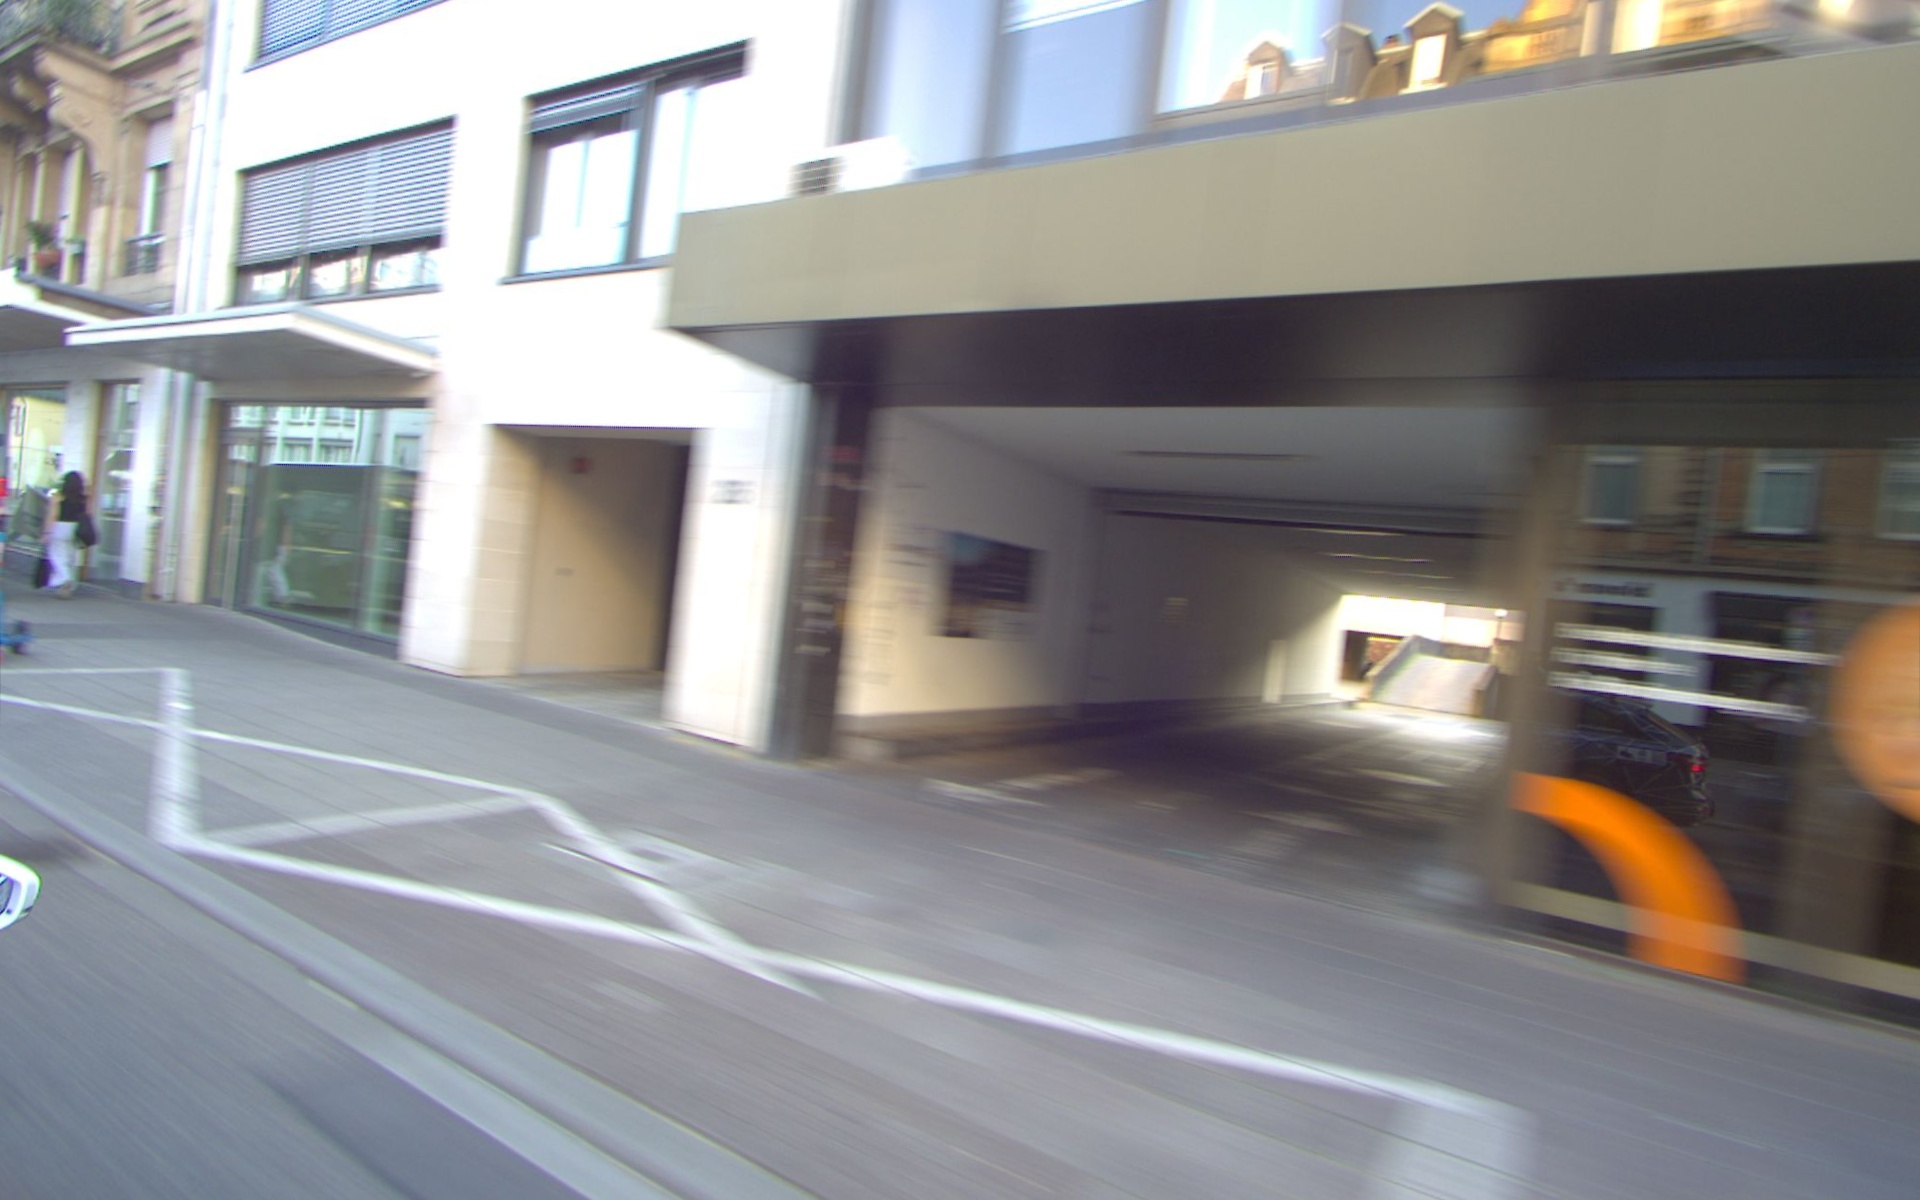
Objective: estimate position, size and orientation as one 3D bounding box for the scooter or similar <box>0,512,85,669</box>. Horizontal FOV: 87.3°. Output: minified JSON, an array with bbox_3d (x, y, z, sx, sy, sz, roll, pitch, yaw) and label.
[{"bbox_3d":[-8.086,-0.107,8.532,0.493,1.235,1.259,6,0,-20],"label":"scooter or similar"}]

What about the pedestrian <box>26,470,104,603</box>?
[{"bbox_3d":[-11.753,-0.828,13.215,0.524,1.666,0.550,8,2,32],"label":"pedestrian"}]

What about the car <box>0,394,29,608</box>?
[{"bbox_3d":[-14.204,-1.507,12.626,5.932,2.487,2.094,7,1,32],"label":"car"}]
